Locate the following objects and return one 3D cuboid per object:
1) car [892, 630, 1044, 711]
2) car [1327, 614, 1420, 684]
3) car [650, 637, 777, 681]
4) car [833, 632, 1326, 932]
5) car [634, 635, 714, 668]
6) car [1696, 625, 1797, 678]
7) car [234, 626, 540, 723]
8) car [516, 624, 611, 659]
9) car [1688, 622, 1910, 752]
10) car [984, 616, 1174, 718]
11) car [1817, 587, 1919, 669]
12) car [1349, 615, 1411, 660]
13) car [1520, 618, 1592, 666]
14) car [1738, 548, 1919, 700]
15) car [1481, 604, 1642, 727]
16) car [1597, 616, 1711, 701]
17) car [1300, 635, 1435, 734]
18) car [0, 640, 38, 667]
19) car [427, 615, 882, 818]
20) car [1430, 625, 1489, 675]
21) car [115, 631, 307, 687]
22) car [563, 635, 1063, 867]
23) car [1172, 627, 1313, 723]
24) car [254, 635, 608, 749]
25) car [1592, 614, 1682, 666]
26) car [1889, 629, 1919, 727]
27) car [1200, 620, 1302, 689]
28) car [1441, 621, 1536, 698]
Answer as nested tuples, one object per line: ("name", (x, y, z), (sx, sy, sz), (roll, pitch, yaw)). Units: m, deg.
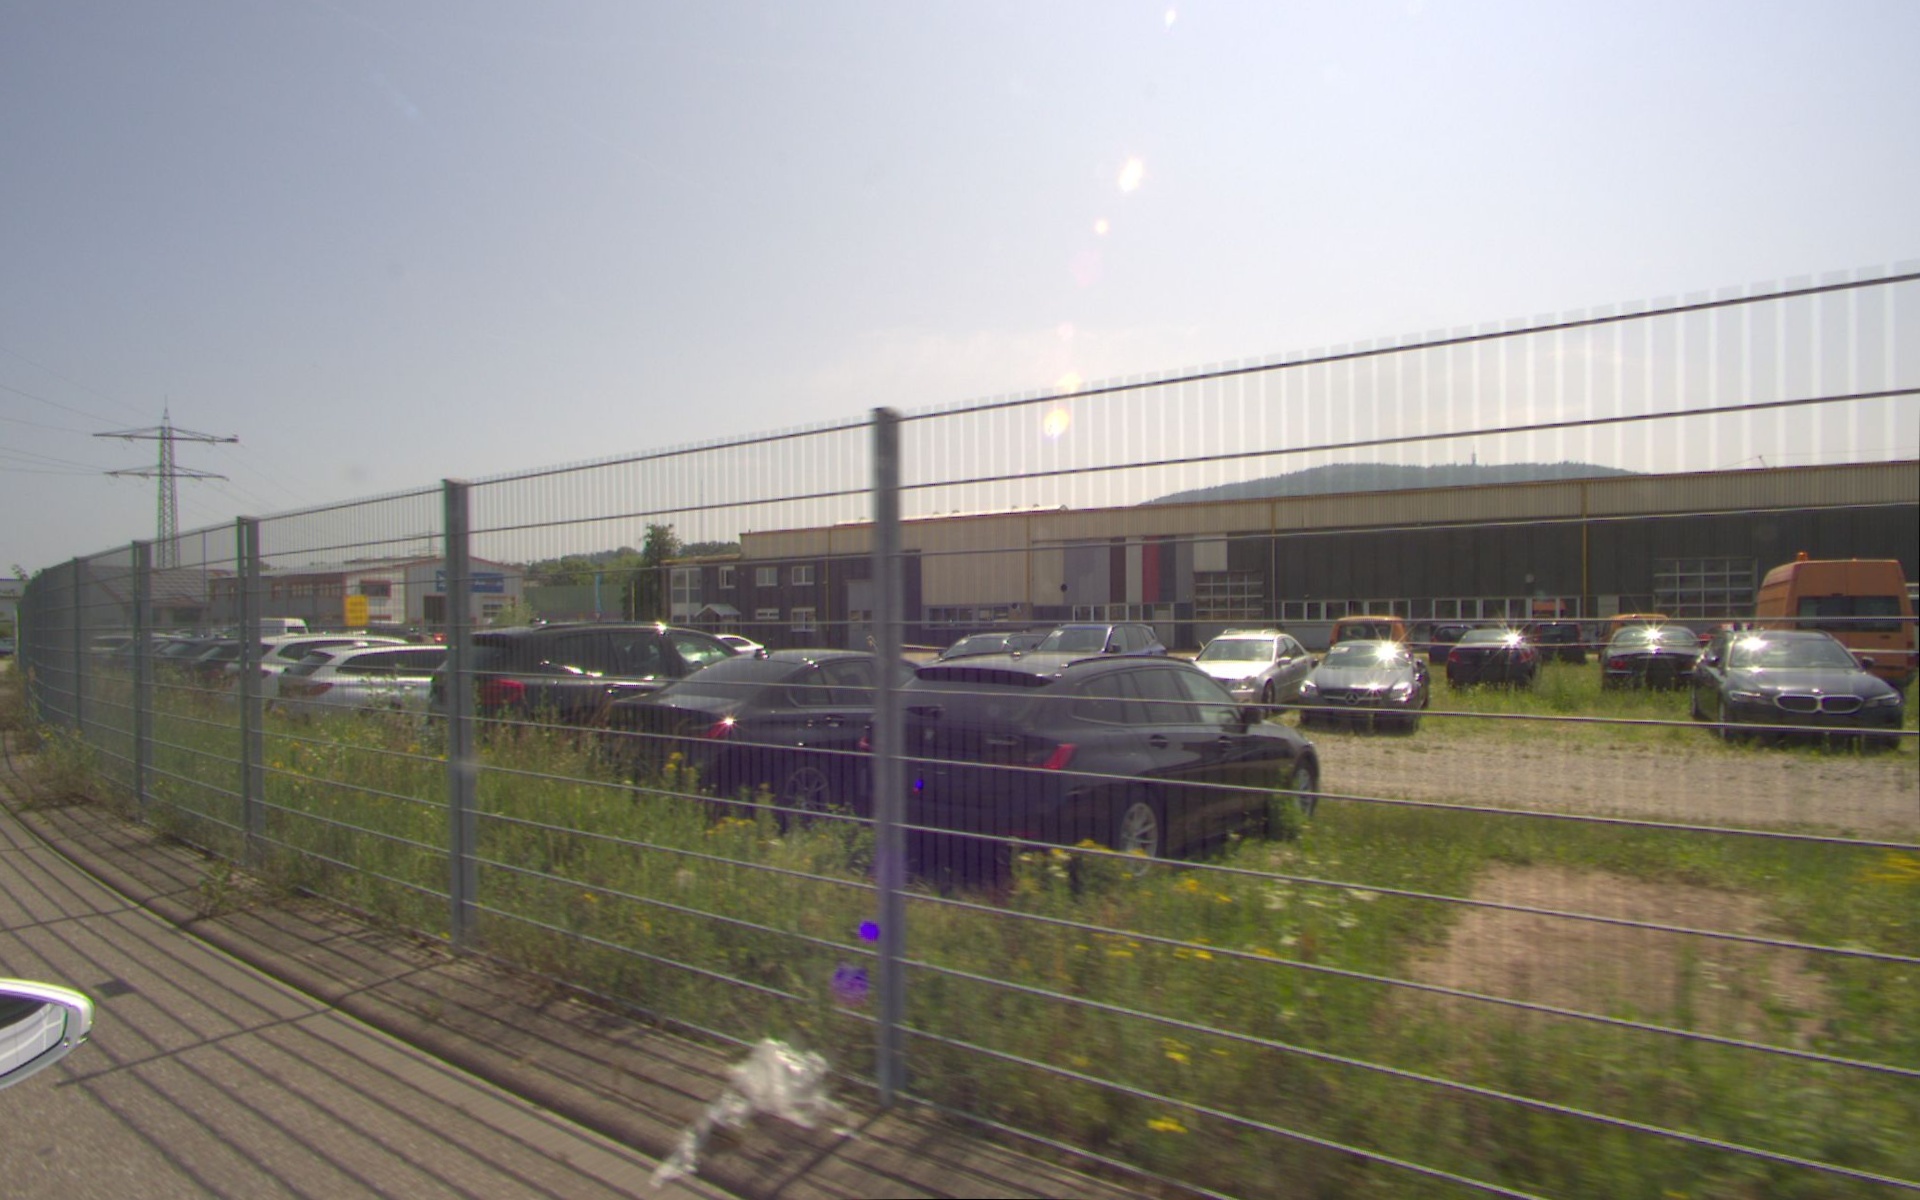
("car", (0.252, 1.409, 21.199), (1.587, 1.456, 3.755), (0, 0, 30))
("car", (9.902, 1.095, 23.854), (1.565, 1.481, 3.811), (0, 0, 30))
("car", (-8.430, 1.980, 34.647), (1.603, 1.368, 4.502), (-1, -1, 31))
("car", (1.182, 1.000, 7.375), (1.741, 1.396, 4.326), (0, 0, 36))
("car", (-13.287, 2.373, 46.762), (1.512, 1.454, 3.653), (-1, -1, 27))
("car", (24.037, 1.510, 30.762), (1.814, 1.396, 4.369), (0, 0, 30))
("car", (-9.542, 1.250, 16.852), (4.180, 1.423, 1.823), (4, -4, -41))
("car", (-22.895, 2.353, 58.046), (1.831, 1.924, 5.052), (-1, -1, 31))
("car", (11.669, 1.084, 14.249), (1.637, 1.451, 4.554), (0, 0, 30))
("car", (2.450, 1.189, 19.544), (1.852, 1.670, 4.449), (0, 0, 34))
("car", (26.883, 0.767, 29.166), (1.943, 2.200, 4.372), (0, 0, 28))
("car", (15.381, 1.317, 36.524), (1.725, 1.505, 4.372), (0, 0, 28))
("car", (20.093, 1.374, 33.899), (1.970, 1.483, 3.983), (-1, -1, 29))
("car", (16.963, 0.418, 19.706), (1.951, 2.619, 4.724), (0, 0, 30))
("car", (9.827, 1.001, 16.396), (1.972, 1.739, 3.980), (-3, -2, 32))
("car", (13.877, 1.087, 20.190), (1.565, 1.481, 3.811), (0, 0, 30))
("car", (6.861, 1.302, 16.644), (1.587, 1.319, 3.755), (0, 0, 30))
("car", (-58.090, 3.206, 60.885), (3.711, 1.574, 1.862), (-1, -1, 27))
("car", (-3.034, 1.017, 10.507), (4.248, 1.659, 1.749), (0, 0, -41))
("car", (17.594, 1.701, 35.213), (1.725, 1.505, 4.372), (0, 0, 28))
("car", (-21.444, 1.711, 28.789), (1.620, 1.492, 4.145), (-1, -4, 42))
("car", (-1.047, 1.082, 8.840), (1.745, 1.396, 4.258), (0, 0, 42))
("car", (5.223, 1.268, 18.215), (1.587, 1.456, 3.755), (0, 0, 30))
("car", (-7.574, 1.295, 14.649), (1.819, 1.423, 4.190), (-1, -4, 43))
("car", (22.074, 1.253, 32.806), (1.943, 1.505, 4.372), (0, 0, 28))
("car", (14.078, 1.131, 13.085), (1.794, 1.370, 4.737), (0, 0, 30))
("car", (7.241, 1.279, 24.673), (1.565, 1.481, 3.811), (0, 0, 30))
("car", (11.875, 1.255, 22.380), (1.730, 1.481, 3.811), (0, 0, 30))
